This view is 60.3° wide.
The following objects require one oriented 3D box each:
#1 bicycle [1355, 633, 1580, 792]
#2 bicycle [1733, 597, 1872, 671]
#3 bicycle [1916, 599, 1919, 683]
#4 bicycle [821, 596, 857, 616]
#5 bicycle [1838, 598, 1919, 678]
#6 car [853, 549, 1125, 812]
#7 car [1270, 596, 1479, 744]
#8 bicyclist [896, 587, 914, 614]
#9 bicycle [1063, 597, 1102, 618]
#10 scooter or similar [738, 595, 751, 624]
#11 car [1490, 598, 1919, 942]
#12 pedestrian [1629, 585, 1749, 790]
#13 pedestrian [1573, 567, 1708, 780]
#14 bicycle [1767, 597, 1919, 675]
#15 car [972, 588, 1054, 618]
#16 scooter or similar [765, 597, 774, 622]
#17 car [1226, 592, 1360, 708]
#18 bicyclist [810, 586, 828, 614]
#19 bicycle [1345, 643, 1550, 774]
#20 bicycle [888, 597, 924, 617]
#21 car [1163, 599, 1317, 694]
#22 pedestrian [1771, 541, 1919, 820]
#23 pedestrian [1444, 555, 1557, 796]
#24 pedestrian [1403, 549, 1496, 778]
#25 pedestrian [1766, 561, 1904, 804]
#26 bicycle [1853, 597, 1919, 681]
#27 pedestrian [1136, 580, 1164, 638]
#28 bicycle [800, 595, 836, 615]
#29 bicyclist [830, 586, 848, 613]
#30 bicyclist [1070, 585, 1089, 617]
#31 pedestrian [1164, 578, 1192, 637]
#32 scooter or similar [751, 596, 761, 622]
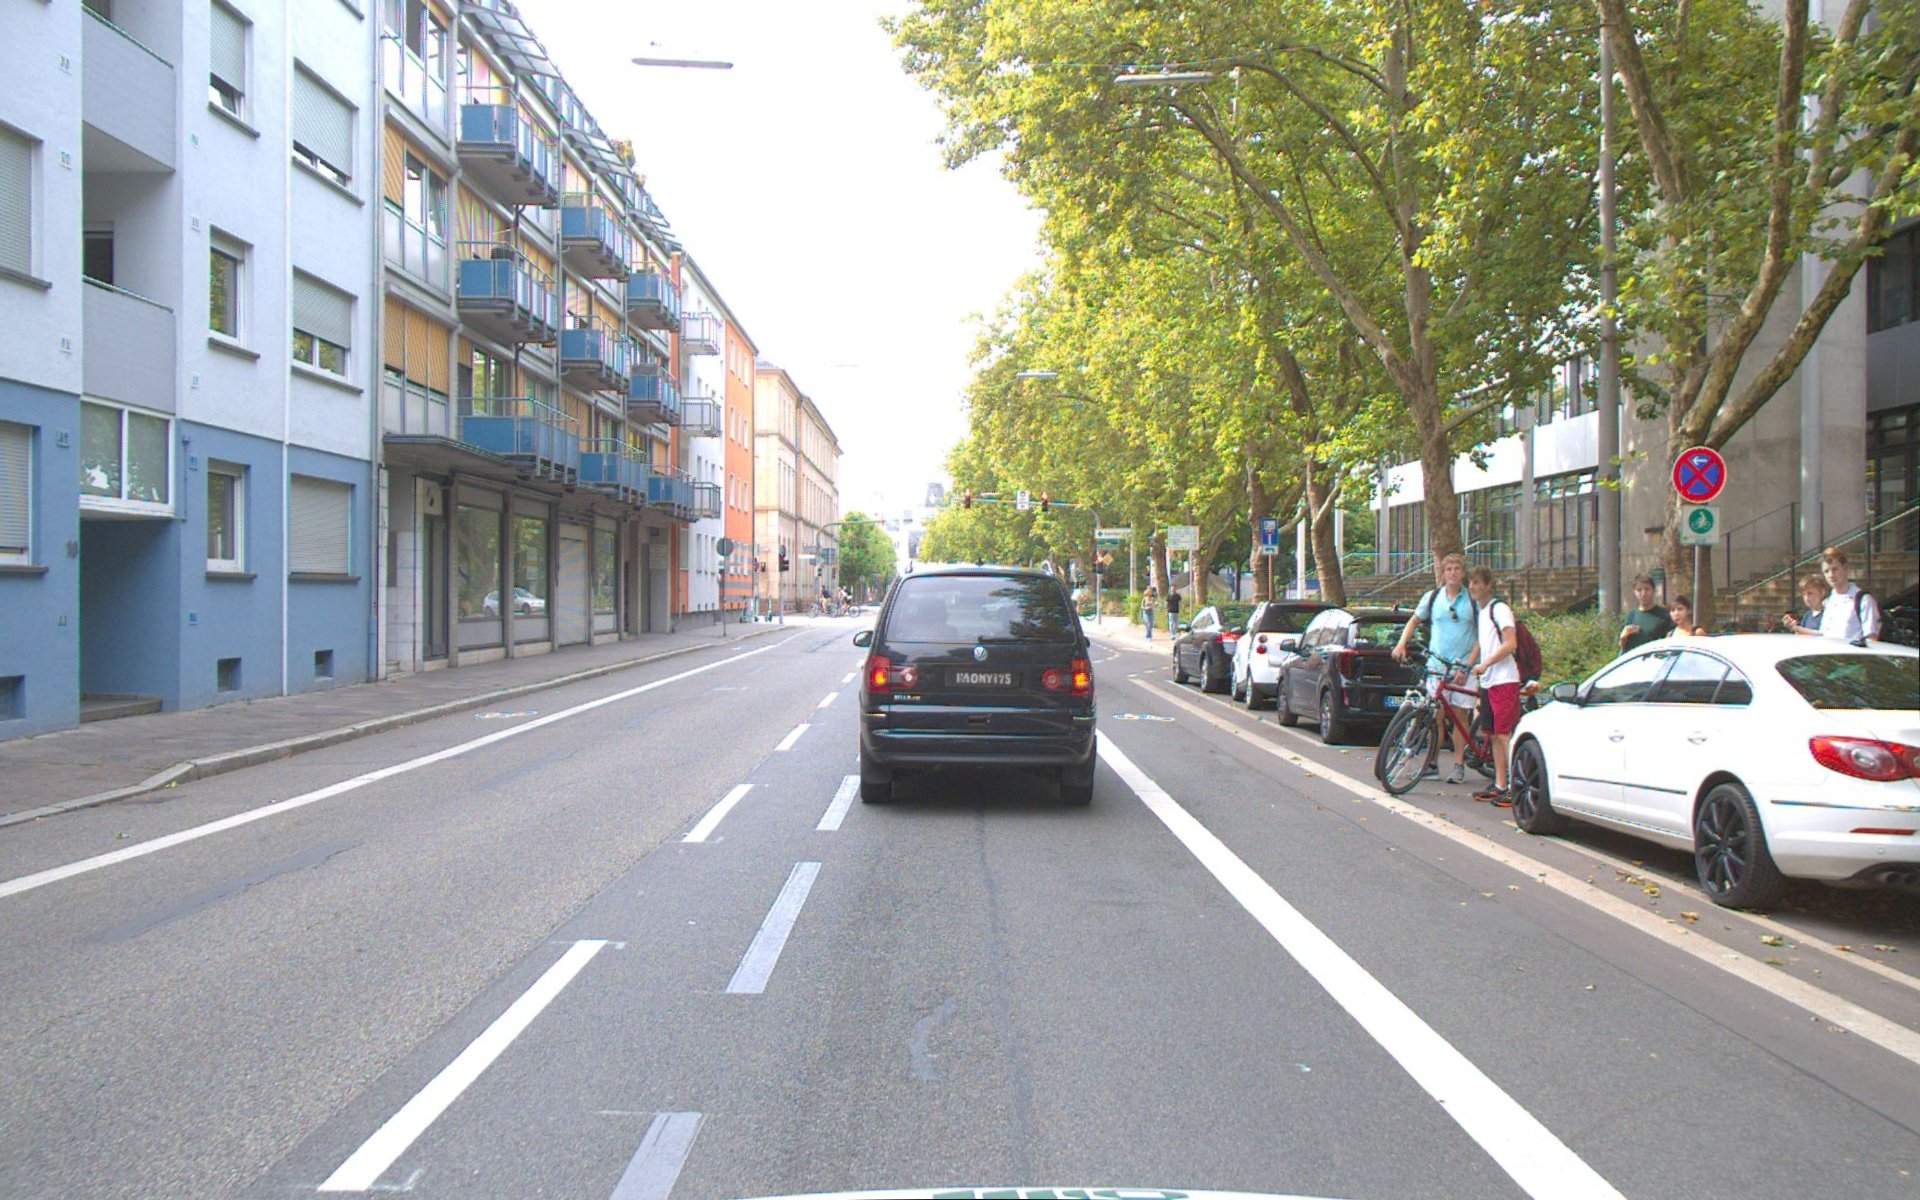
[{"bbox_3d":[4.173,0.911,13.593,1.761,1.238,0.550,1,0,-18],"label":"bicycle"},{"bbox_3d":[13.494,0.540,26.522,1.876,1.137,0.673,-1,0,-1],"label":"bicycle"},{"bbox_3d":[13.874,0.535,22.038,1.876,1.137,0.673,-1,0,-1],"label":"bicycle"},{"bbox_3d":[-6.627,0.308,90.587,1.890,1.046,0.582,1,0,-11],"label":"bicycle"},{"bbox_3d":[13.938,0.542,24.150,1.876,1.137,0.673,-1,0,-1],"label":"bicycle"},{"bbox_3d":[0.124,0.530,13.495,1.836,1.775,4.572,0,0,-2],"label":"car"},{"bbox_3d":[4.775,0.745,19.511,1.497,1.528,3.660,2,0,0],"label":"car"},{"bbox_3d":[-3.065,0.042,92.287,0.899,1.491,0.568,1,0,-13],"label":"bicyclist"},{"bbox_3d":[6.319,0.405,85.478,1.889,1.046,0.582,1,0,-9],"label":"bicycle"},{"bbox_3d":[-9.311,0.415,71.419,0.370,1.204,1.389,0,-1,-1],"label":"scooter or similar"},{"bbox_3d":[4.834,0.810,9.881,1.647,1.542,4.542,3,0,-3],"label":"car"},{"bbox_3d":[6.184,0.722,14.058,0.706,1.687,0.655,1,0,-1],"label":"pedestrian"},{"bbox_3d":[6.092,0.641,14.834,0.853,1.848,0.780,1,0,-1],"label":"pedestrian"},{"bbox_3d":[13.480,0.536,25.185,2.037,1.137,0.673,-1,0,-1],"label":"bicycle"},{"bbox_3d":[2.818,0.154,87.835,4.037,1.452,1.747,-2,0,-27],"label":"car"},{"bbox_3d":[-9.007,0.436,78.247,0.370,1.164,1.141,0,-1,-4],"label":"scooter or similar"},{"bbox_3d":[4.843,0.697,24.318,1.504,1.570,2.600,2,0,2],"label":"car"},{"bbox_3d":[-7.599,-0.021,88.895,0.898,1.491,0.568,1,0,-11],"label":"bicyclist"},{"bbox_3d":[4.390,0.975,14.903,1.704,1.125,0.551,1,0,-12],"label":"bicycle"},{"bbox_3d":[-3.011,0.387,92.301,1.891,1.046,0.581,1,0,-14],"label":"bicycle"},{"bbox_3d":[4.715,0.740,28.477,1.664,1.450,4.419,2,0,-3],"label":"car"},{"bbox_3d":[6.742,0.592,12.535,0.777,2.032,0.750,1,0,-1],"label":"pedestrian"},{"bbox_3d":[4.350,0.593,13.337,0.511,1.877,0.741,1,0,-15],"label":"pedestrian"},{"bbox_3d":[4.325,0.550,14.631,0.466,1.968,0.742,1,0,-11],"label":"pedestrian"},{"bbox_3d":[7.033,0.646,13.327,0.706,1.887,0.703,1,0,-1],"label":"pedestrian"},{"bbox_3d":[13.606,0.533,23.122,1.876,1.137,0.673,-1,0,-1],"label":"bicycle"},{"bbox_3d":[6.081,0.276,52.879,0.696,1.814,1.033,-2,0,-2],"label":"pedestrian"},{"bbox_3d":[-7.637,0.285,88.889,1.890,1.046,0.582,1,0,-11],"label":"bicycle"},{"bbox_3d":[-6.642,-0.035,90.584,0.898,1.491,0.568,1,0,-11],"label":"bicyclist"},{"bbox_3d":[6.189,0.047,85.460,0.839,1.594,0.576,1,0,-9],"label":"bicyclist"},{"bbox_3d":[6.963,0.245,52.908,0.700,1.831,1.033,-2,0,-2],"label":"pedestrian"},{"bbox_3d":[-9.580,0.424,77.695,0.370,1.167,1.141,0,-1,-4],"label":"scooter or similar"}]
